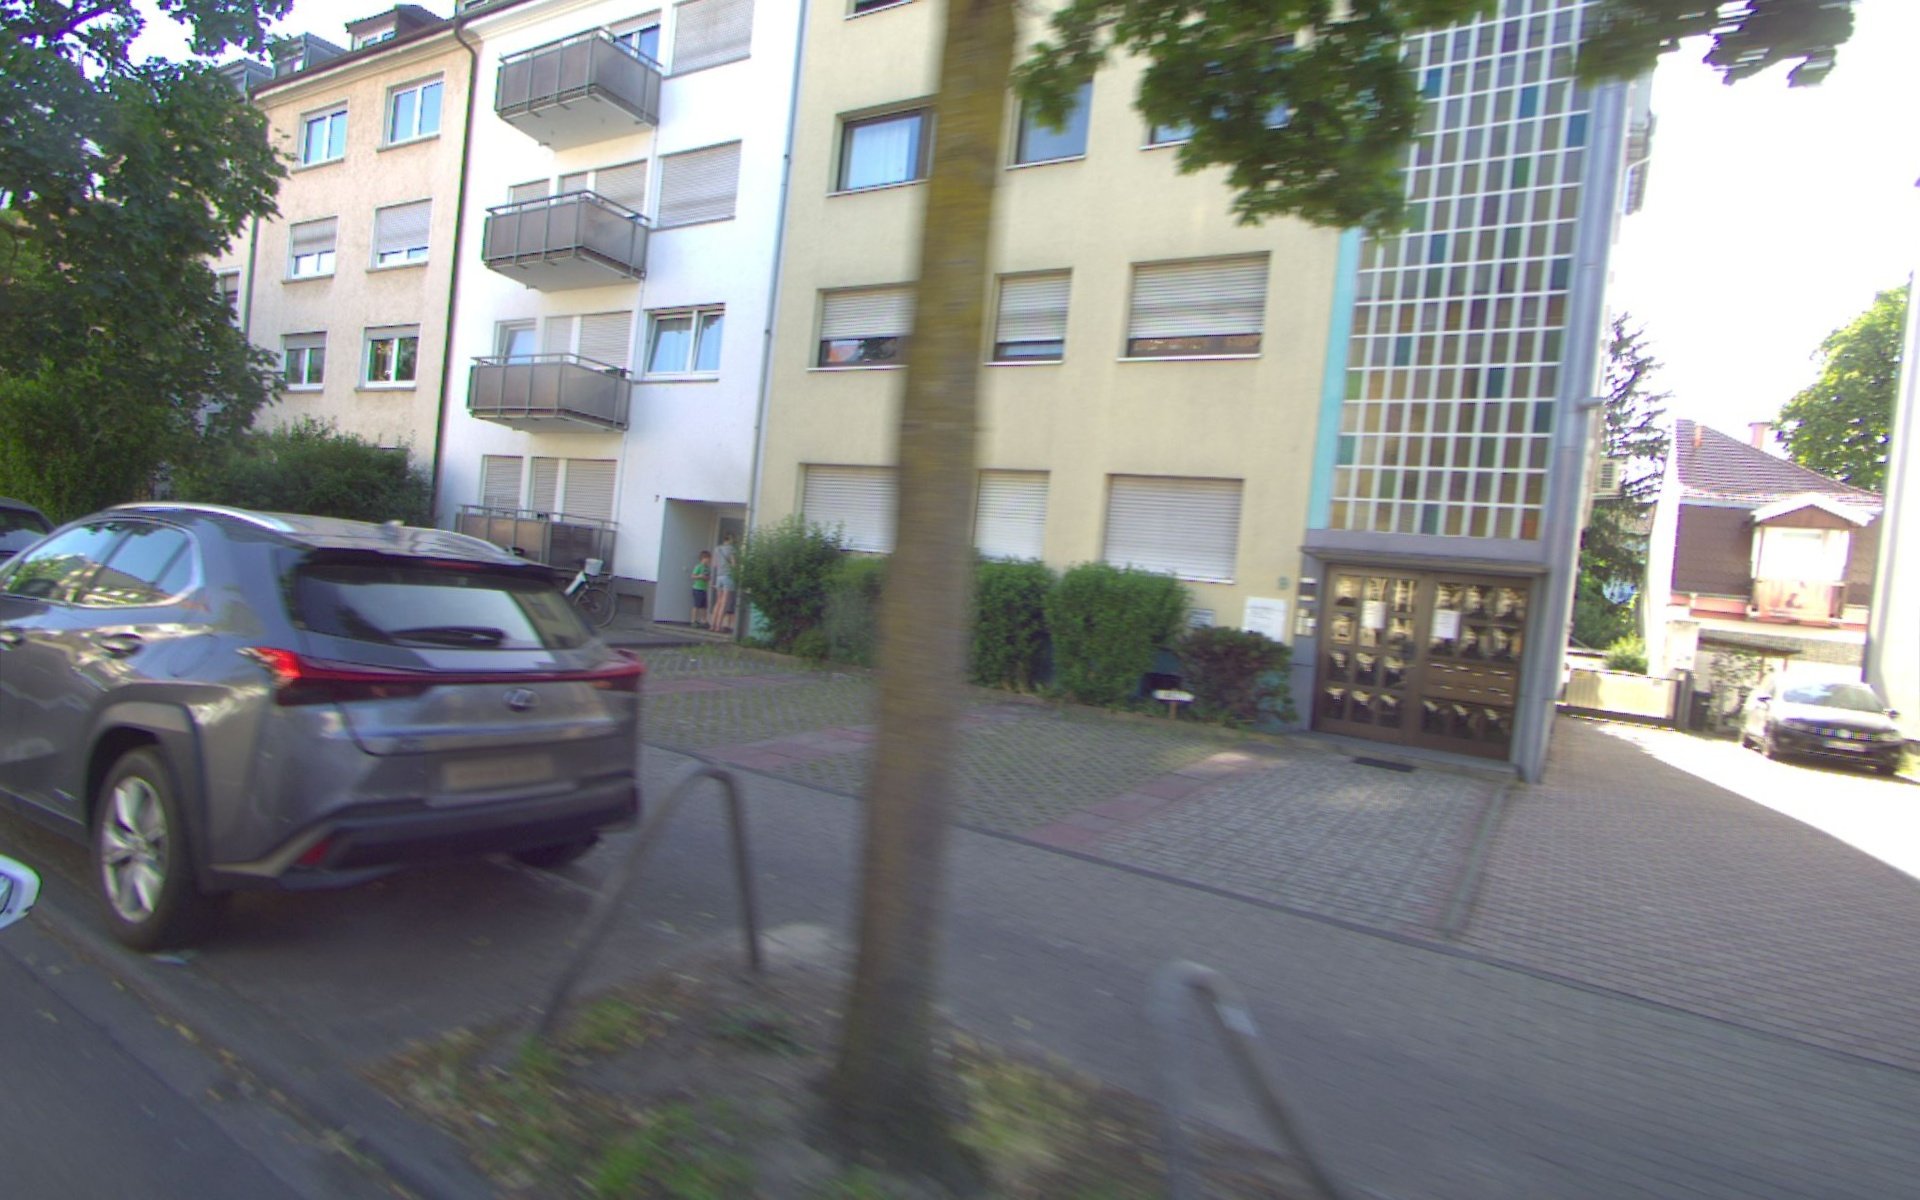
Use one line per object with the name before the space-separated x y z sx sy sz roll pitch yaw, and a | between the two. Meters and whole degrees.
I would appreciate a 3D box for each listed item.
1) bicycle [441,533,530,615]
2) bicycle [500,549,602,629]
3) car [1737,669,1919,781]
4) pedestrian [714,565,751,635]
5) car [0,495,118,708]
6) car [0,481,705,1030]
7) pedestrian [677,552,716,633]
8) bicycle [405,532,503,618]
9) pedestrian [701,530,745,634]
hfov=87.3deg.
bicycle | -8.535 -0.470 18.083 1.661 1.305 0.591 7 4 32
bicycle | -7.004 -0.187 17.253 1.521 1.240 0.460 4 4 -28
car | 15.468 2.137 18.121 1.715 1.549 3.990 7 1 31
pedestrian | -4.118 0.005 18.240 0.334 1.210 0.366 7 -2 32
car | -8.164 -0.177 7.596 3.911 1.401 1.612 7 1 32
car | -3.391 0.329 4.695 4.162 1.508 1.716 7 1 30
pedestrian | -4.766 -0.134 18.212 0.358 1.399 0.367 7 -2 15
bicycle | -8.827 -0.443 17.515 1.812 1.305 0.622 7 4 32
pedestrian | -4.143 -0.305 17.613 0.360 1.756 0.365 7 -2 26
